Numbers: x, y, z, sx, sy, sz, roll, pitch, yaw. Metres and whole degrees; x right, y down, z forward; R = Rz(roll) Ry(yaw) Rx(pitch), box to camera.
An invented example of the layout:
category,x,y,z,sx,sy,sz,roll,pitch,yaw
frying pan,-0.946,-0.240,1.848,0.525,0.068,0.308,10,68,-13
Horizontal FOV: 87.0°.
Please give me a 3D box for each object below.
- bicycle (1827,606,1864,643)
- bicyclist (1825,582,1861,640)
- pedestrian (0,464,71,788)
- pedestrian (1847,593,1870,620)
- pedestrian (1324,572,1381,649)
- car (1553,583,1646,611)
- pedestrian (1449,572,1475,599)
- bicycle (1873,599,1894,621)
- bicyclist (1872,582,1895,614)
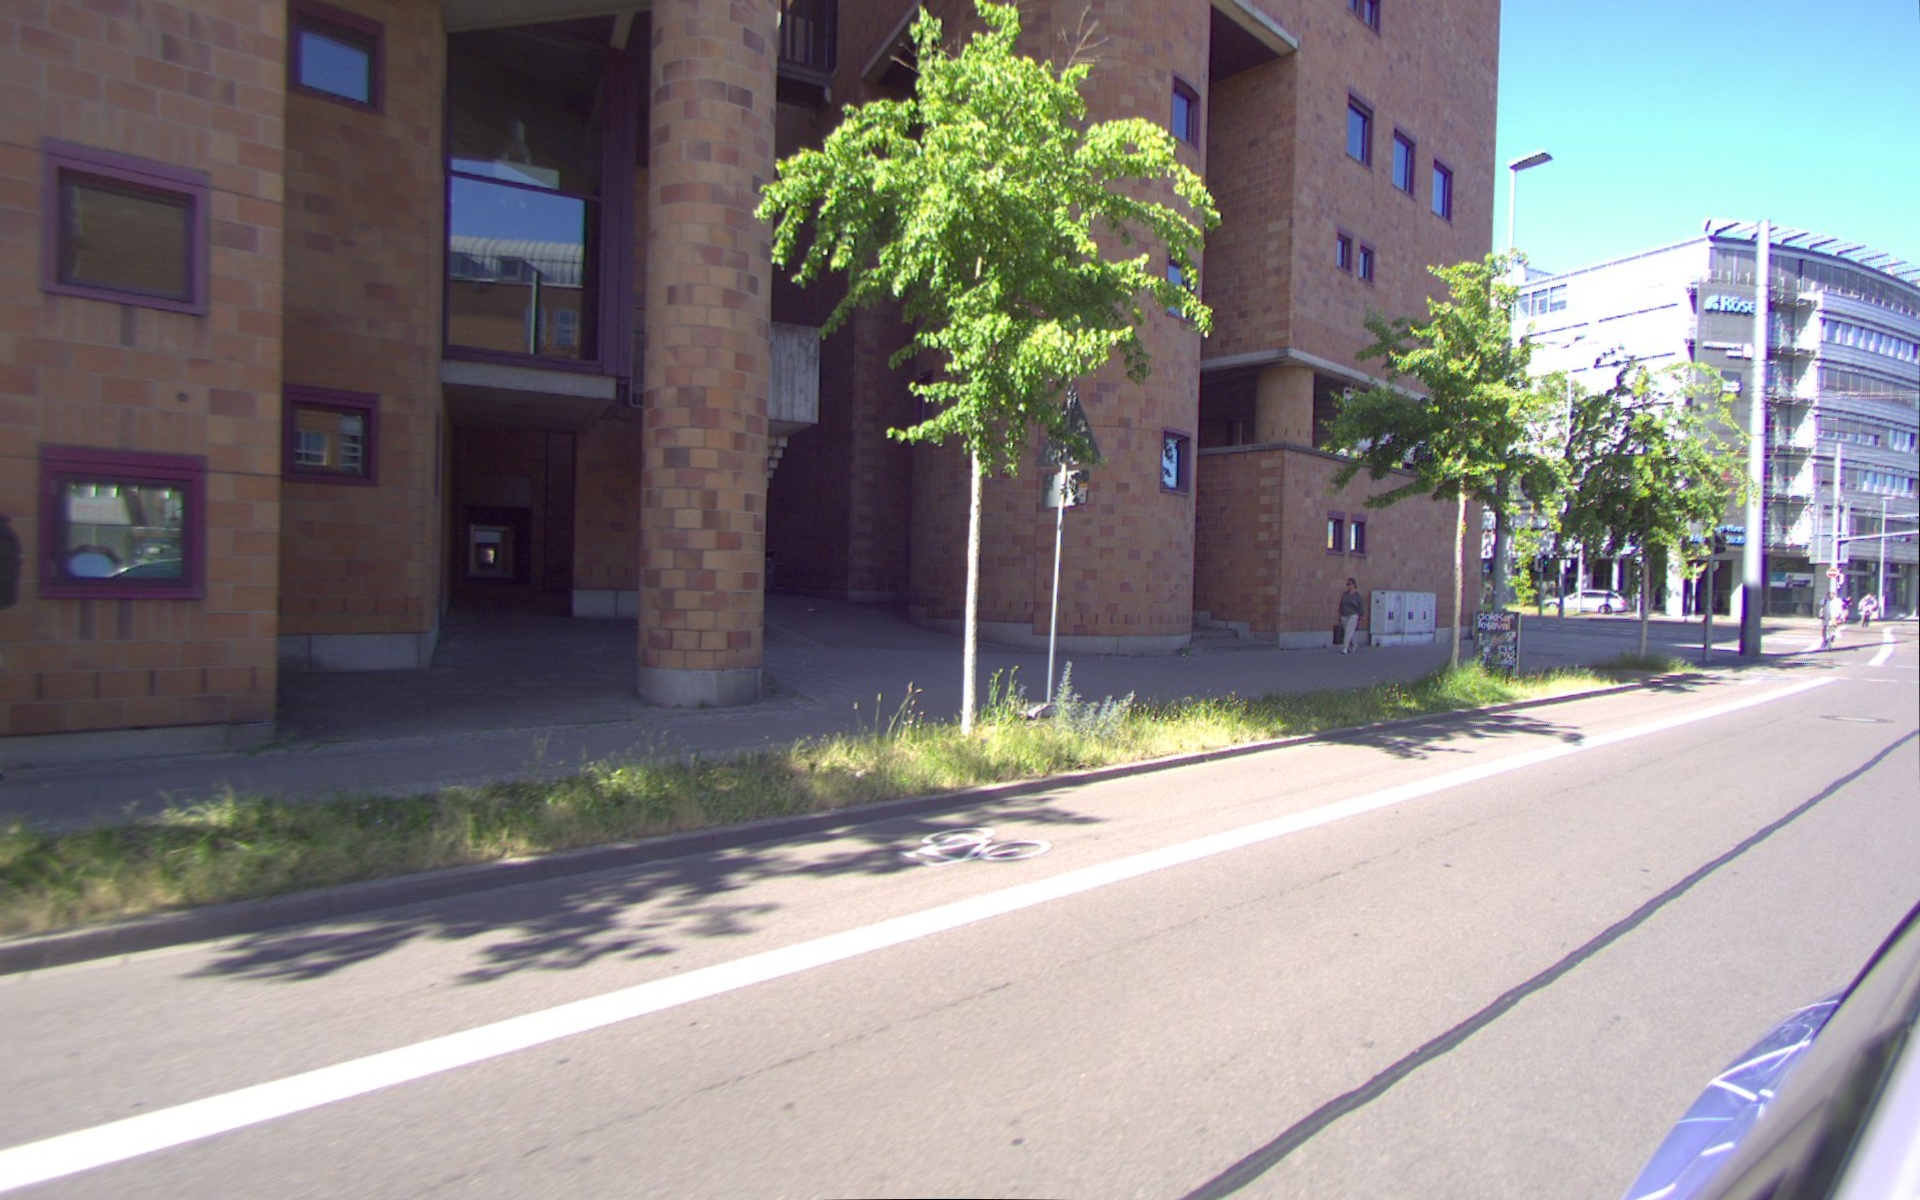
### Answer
category,x,y,z,sx,sy,sz,roll,pitch,yaw
bicycle,27.202,0.751,31.088,1.479,1.110,0.578,0,-1,-38
bicyclist,27.109,0.343,31.057,0.893,1.750,0.684,1,-1,-39
pedestrian,-6.088,0.139,6.077,1.087,1.906,0.790,0,2,-40
pedestrian,58.698,0.412,66.102,0.784,1.708,0.862,1,1,-27
pedestrian,8.686,0.211,22.395,0.960,1.639,0.789,0,2,-42
car,40.302,-0.233,63.796,4.823,1.577,1.911,3,2,36
pedestrian,38.669,-1.131,77.906,1.437,2.038,1.184,0,2,-33
bicycle,48.153,0.516,52.758,1.479,1.110,0.578,0,-1,-37
bicyclist,48.181,-0.101,52.782,0.747,1.637,0.755,0,-1,-37
